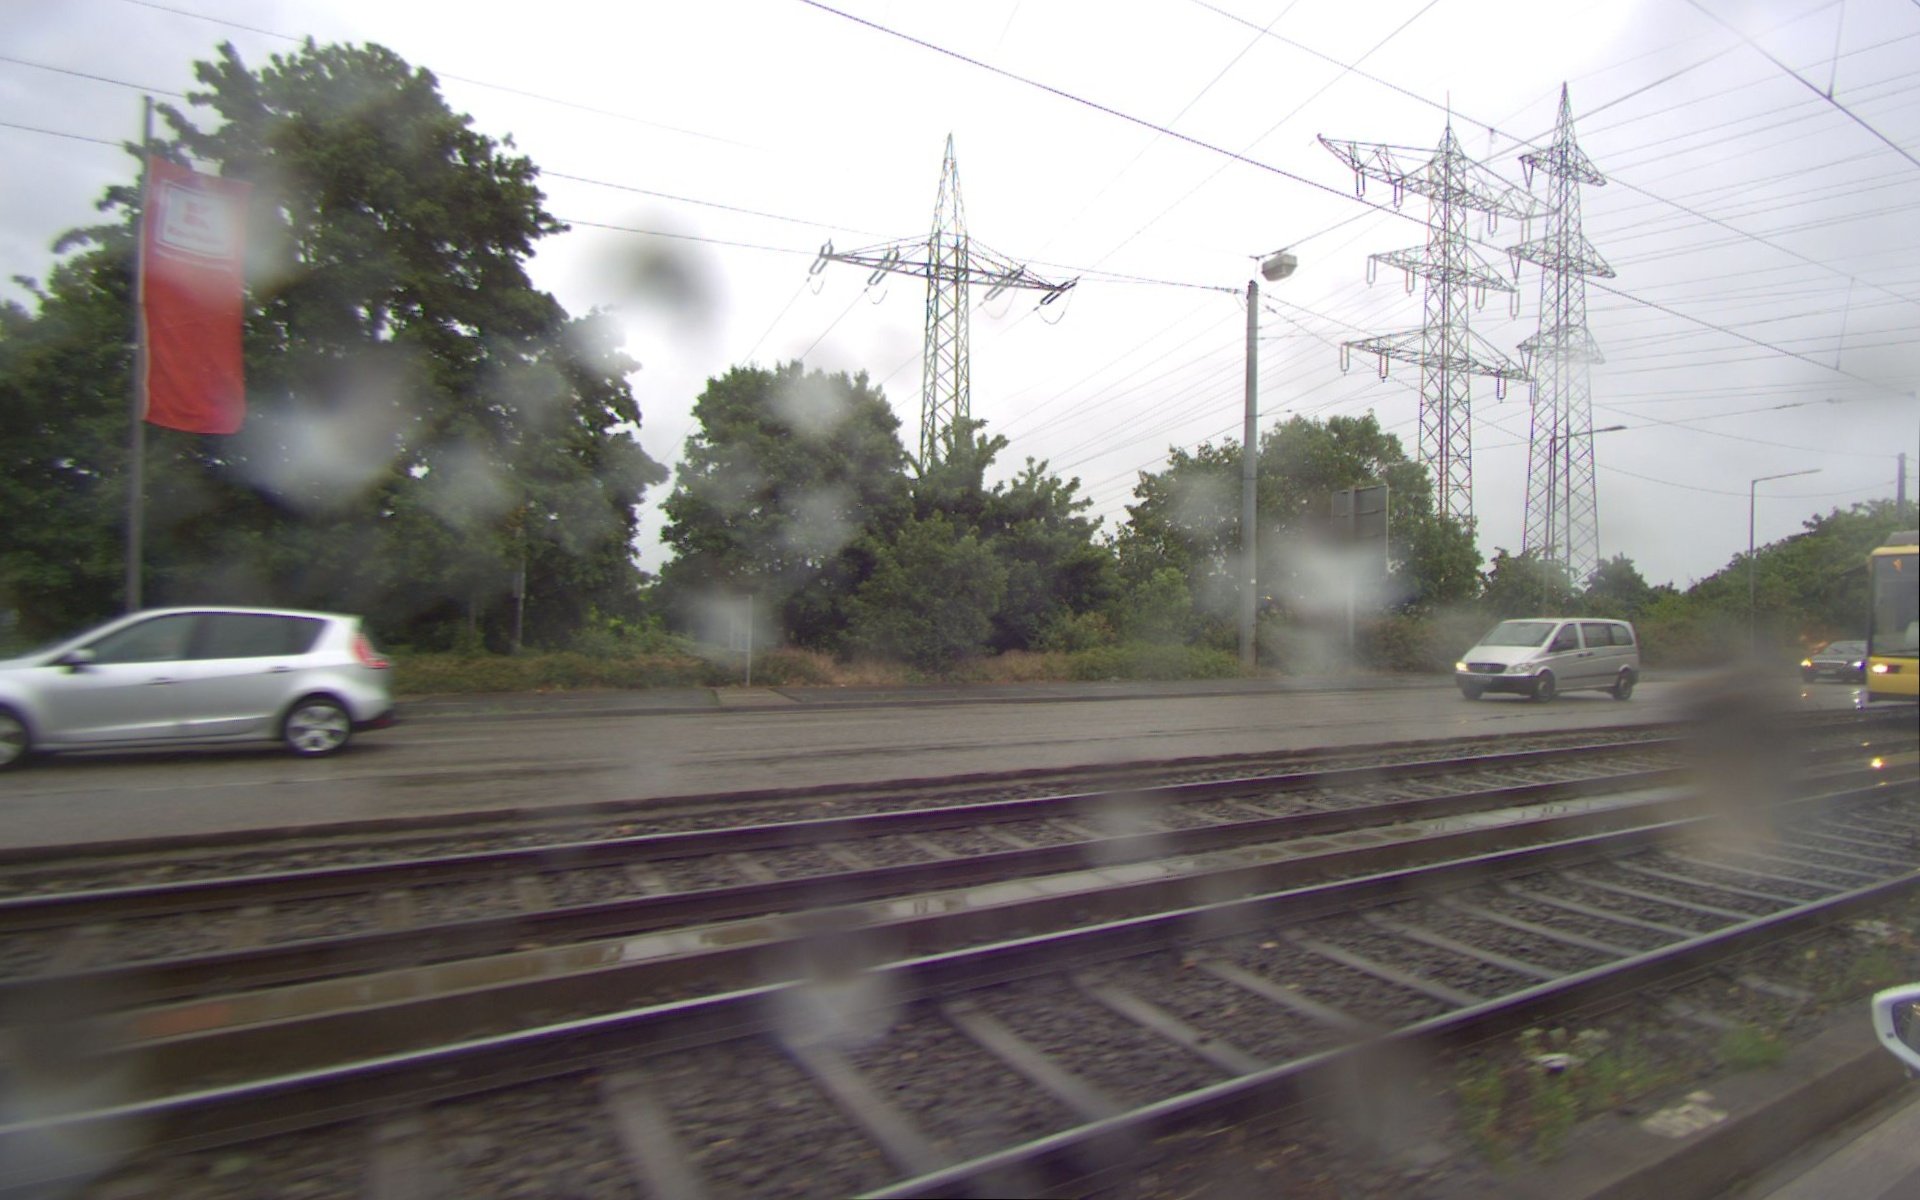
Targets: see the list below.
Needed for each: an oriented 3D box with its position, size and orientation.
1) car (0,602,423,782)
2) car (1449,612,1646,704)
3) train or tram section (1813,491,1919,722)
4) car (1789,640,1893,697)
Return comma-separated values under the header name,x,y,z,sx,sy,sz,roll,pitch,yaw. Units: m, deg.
name,x,y,z,sx,sy,sz,roll,pitch,yaw
car,-8.308,0.887,10.978,4.294,1.664,1.879,1,1,-29
car,13.642,1.261,23.275,4.565,1.909,1.879,1,1,-29
train or tram section,23.155,0.181,20.828,17.684,3.755,2.850,1,1,-31
car,30.598,2.325,34.884,3.689,1.747,1.659,1,1,-31
